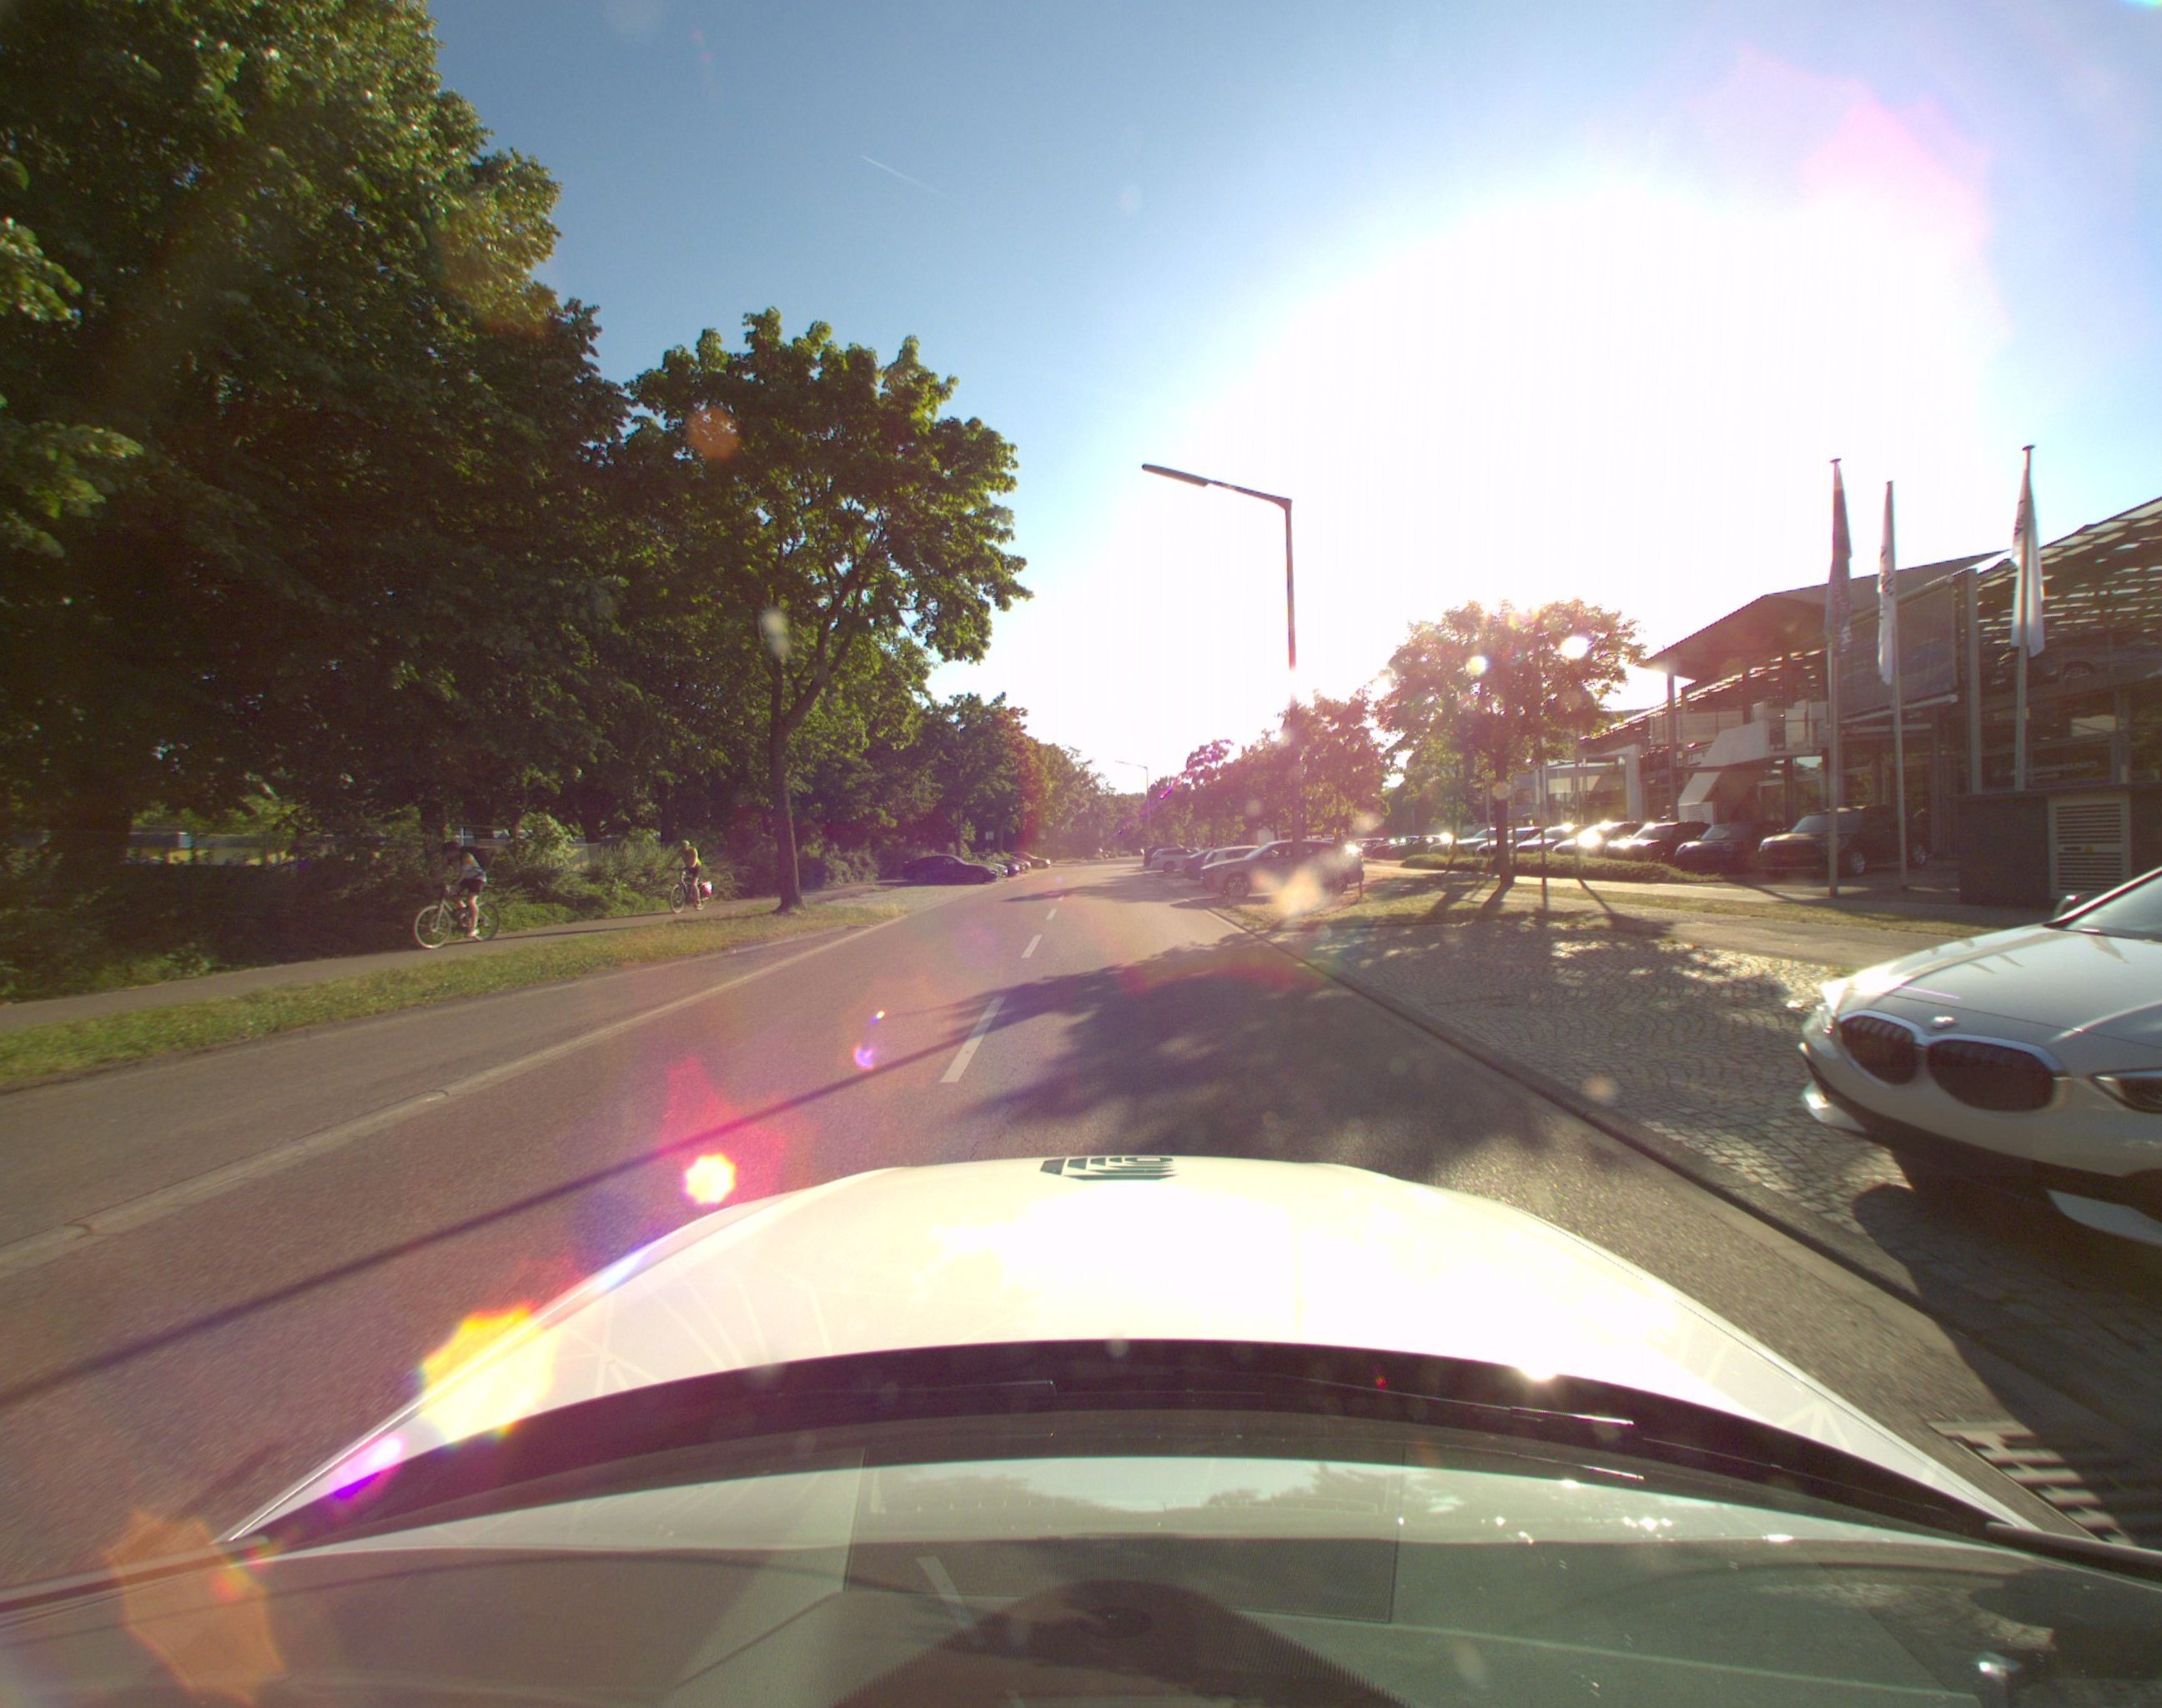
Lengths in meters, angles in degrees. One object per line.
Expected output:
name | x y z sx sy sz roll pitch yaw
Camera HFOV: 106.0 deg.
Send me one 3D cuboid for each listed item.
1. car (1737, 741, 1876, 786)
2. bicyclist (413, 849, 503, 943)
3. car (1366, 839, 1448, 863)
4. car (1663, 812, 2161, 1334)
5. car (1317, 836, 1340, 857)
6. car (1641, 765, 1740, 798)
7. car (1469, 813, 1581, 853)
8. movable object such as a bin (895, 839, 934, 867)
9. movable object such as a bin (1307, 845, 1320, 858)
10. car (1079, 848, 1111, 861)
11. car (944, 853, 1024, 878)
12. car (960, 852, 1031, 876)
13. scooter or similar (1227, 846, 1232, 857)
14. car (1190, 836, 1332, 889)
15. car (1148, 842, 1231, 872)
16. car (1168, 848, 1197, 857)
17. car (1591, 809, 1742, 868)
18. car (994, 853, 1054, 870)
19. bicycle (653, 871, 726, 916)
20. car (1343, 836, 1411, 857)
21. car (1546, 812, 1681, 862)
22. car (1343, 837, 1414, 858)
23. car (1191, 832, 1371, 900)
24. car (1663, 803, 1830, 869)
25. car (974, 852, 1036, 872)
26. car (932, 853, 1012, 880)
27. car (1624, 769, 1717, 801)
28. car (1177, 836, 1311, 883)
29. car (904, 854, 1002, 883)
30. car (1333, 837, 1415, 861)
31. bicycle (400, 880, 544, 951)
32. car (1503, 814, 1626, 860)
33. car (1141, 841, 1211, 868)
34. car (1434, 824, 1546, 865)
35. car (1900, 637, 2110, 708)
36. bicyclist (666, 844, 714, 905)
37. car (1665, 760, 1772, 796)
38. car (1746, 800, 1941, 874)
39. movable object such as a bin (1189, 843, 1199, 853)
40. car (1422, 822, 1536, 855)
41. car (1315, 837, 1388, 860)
car | 30.238 -3.747 34.070 3.958 1.666 1.794 1 1 14
bicyclist | -10.618 0.691 13.919 0.728 1.530 0.952 -2 0 2
car | 22.212 -0.209 55.565 4.729 1.463 2.012 -2 0 43
car | 5.161 0.536 3.228 4.185 1.444 2.088 -3 0 0
car | 23.837 -0.722 78.380 2.015 1.828 4.999 -2 0 18
car | 33.260 -3.923 44.571 3.958 1.666 1.794 1 1 14
car | 19.687 -0.924 36.092 4.613 1.574 1.983 -3 1 -25
movable object such as a bin | -16.851 -0.060 82.207 2.173 2.664 4.754 -2 0 -33
movable object such as a bin | 23.716 -0.293 82.963 1.110 1.268 1.040 -2 0 9
car | 2.373 0.043 136.758 4.975 2.020 2.180 -2 0 9
car | -6.133 0.711 51.853 4.836 1.531 1.999 0 0 -2
car | -5.690 0.661 54.705 4.462 1.531 2.001 0 0 1
scooter or similar | 18.569 -0.302 102.056 0.517 1.272 1.390 -2 0 7
car | 6.012 0.280 27.634 4.360 1.479 2.001 -3 0 1
car | 6.489 0.181 49.030 4.678 1.479 2.001 -3 1 1
car | 18.766 -0.294 150.579 5.143 1.574 2.164 -2 0 10
car | 19.236 -0.506 26.753 4.613 1.574 1.983 -4 0 -25
car | -5.005 0.672 72.052 5.016 1.462 2.001 0 0 1
bicycle | -10.255 1.001 21.444 0.762 1.039 2.218 -2 0 2
car | 23.880 -0.595 65.850 4.729 1.463 2.012 -2 0 43
car | 19.541 -0.625 29.874 4.613 1.574 1.983 -3 0 -25
car | 22.922 -0.497 62.853 4.729 1.463 2.059 -2 0 43
car | 5.604 0.314 23.205 4.578 1.584 1.999 -3 0 -2
car | 19.589 -0.526 23.965 4.613 1.666 1.983 -3 0 -25
car | -5.805 0.617 62.325 4.462 1.462 2.001 0 0 1
car | -6.235 0.713 47.058 4.269 1.531 2.001 0 0 2
car | 33.941 -3.964 46.987 3.958 1.666 1.794 1 1 14
car | 6.010 0.198 30.541 4.608 1.456 2.001 -3 0 1
car | -6.419 0.731 41.249 4.634 1.421 1.916 0 0 -1
car | 19.491 -0.311 54.282 2.011 1.463 4.731 -2 0 -43
bicycle | -10.578 1.025 14.267 0.762 1.039 2.218 -2 0 2
car | 19.520 -0.678 32.888 4.613 1.574 1.983 -3 0 -25
car | 6.620 0.025 56.700 4.671 1.751 2.195 -2 0 6
car | 19.688 -0.466 39.212 4.737 1.690 2.391 -3 0 -25
car | 28.466 -5.565 25.241 3.958 1.666 1.794 1 1 15
bicyclist | -10.235 0.517 21.353 0.728 1.530 0.952 -2 0 2
car | 32.733 -3.877 41.940 3.958 1.666 1.794 1 1 14
car | 19.324 -0.434 20.637 4.612 1.666 1.984 -2 0 -24
movable object such as a bin | 35.478 -1.960 256.218 2.819 3.068 4.943 1 1 12
car | 21.387 -0.795 43.909 2.011 1.571 5.128 -2 0 -43
car | 20.205 -0.402 60.843 4.729 1.463 2.012 -2 0 43
